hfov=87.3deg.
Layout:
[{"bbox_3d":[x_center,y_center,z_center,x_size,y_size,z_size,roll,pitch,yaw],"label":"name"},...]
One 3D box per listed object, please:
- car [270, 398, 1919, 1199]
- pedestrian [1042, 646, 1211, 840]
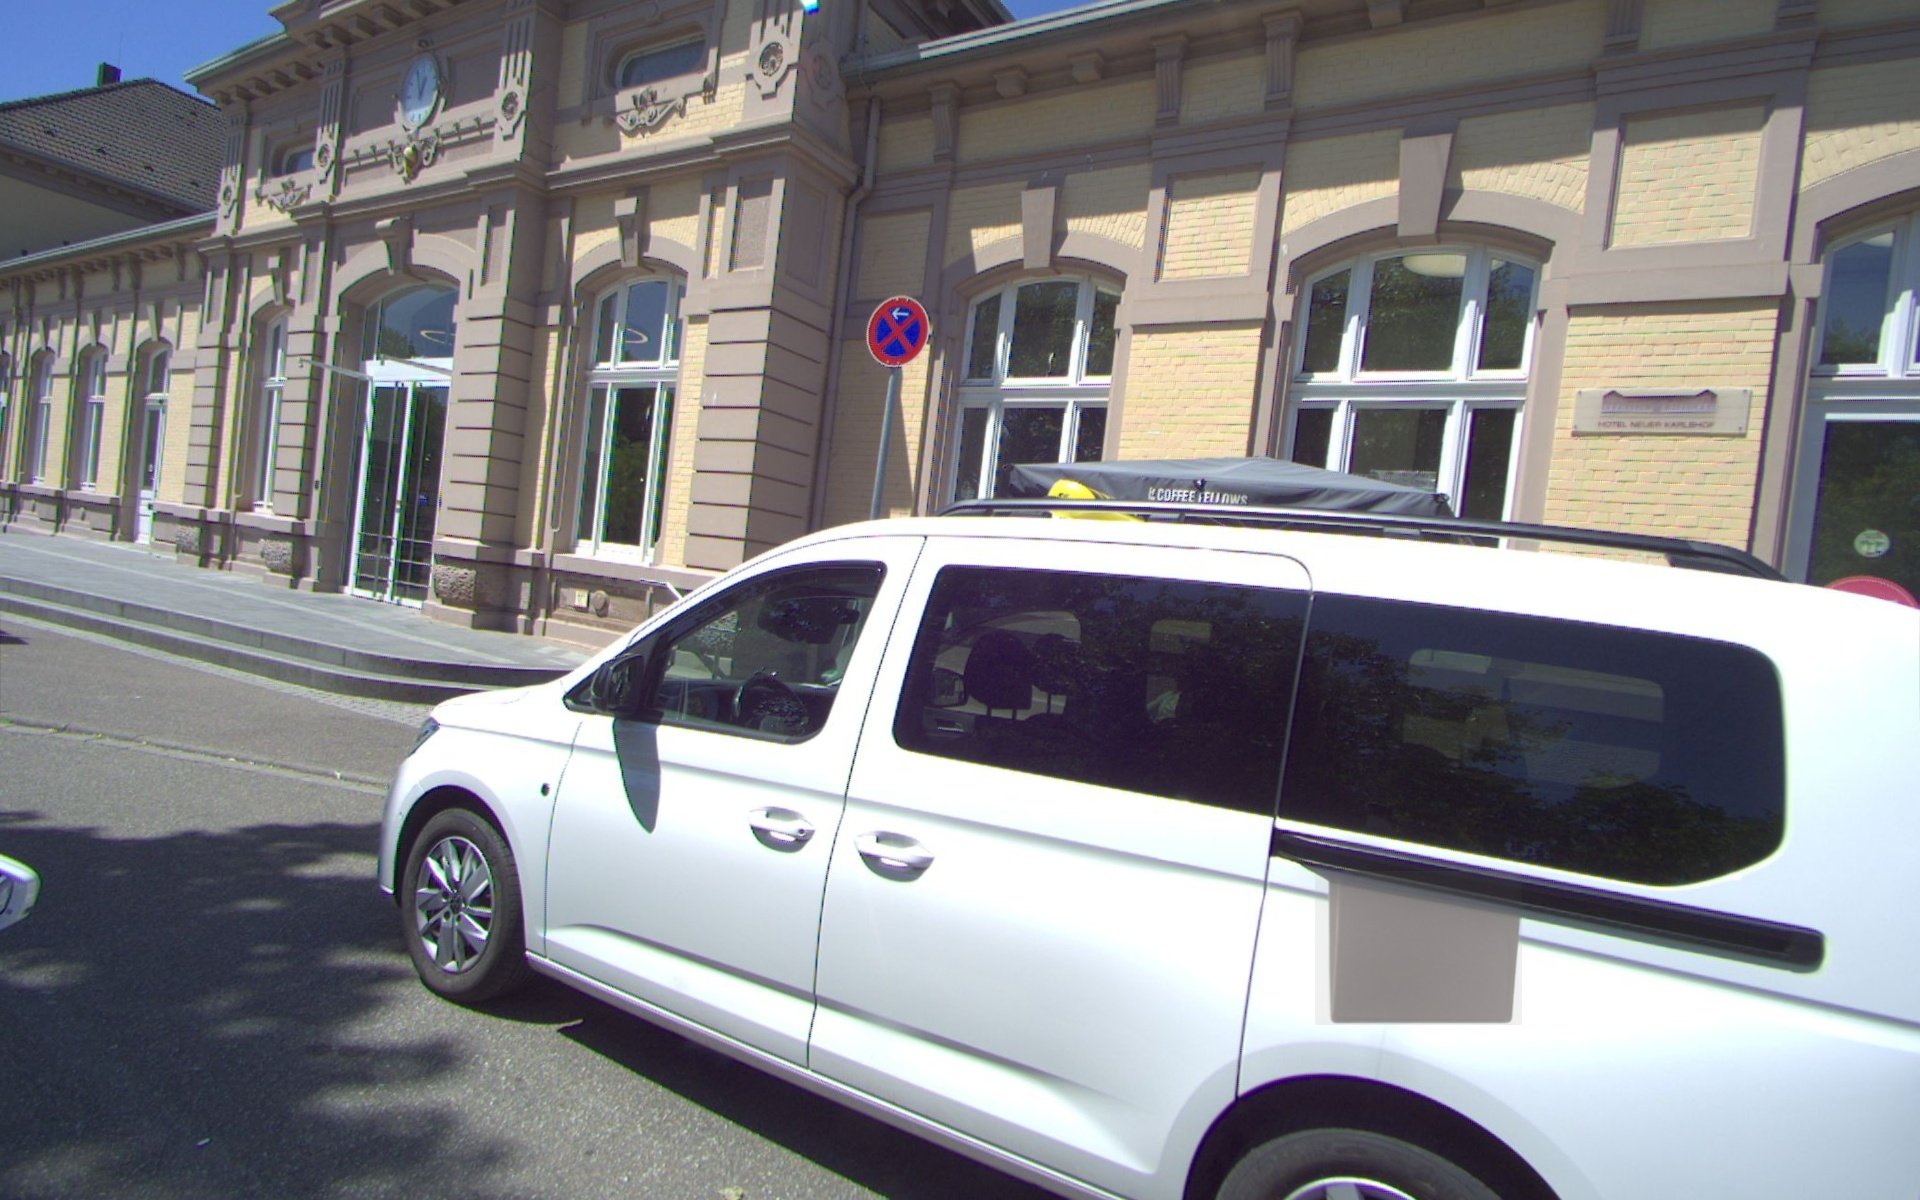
[{"bbox_3d":[0.147,0.558,3.255,5.051,1.889,1.812,8,0,30],"label":"car"},{"bbox_3d":[1.205,0.970,7.208,0.837,1.177,0.879,7,3,28],"label":"pedestrian"}]
